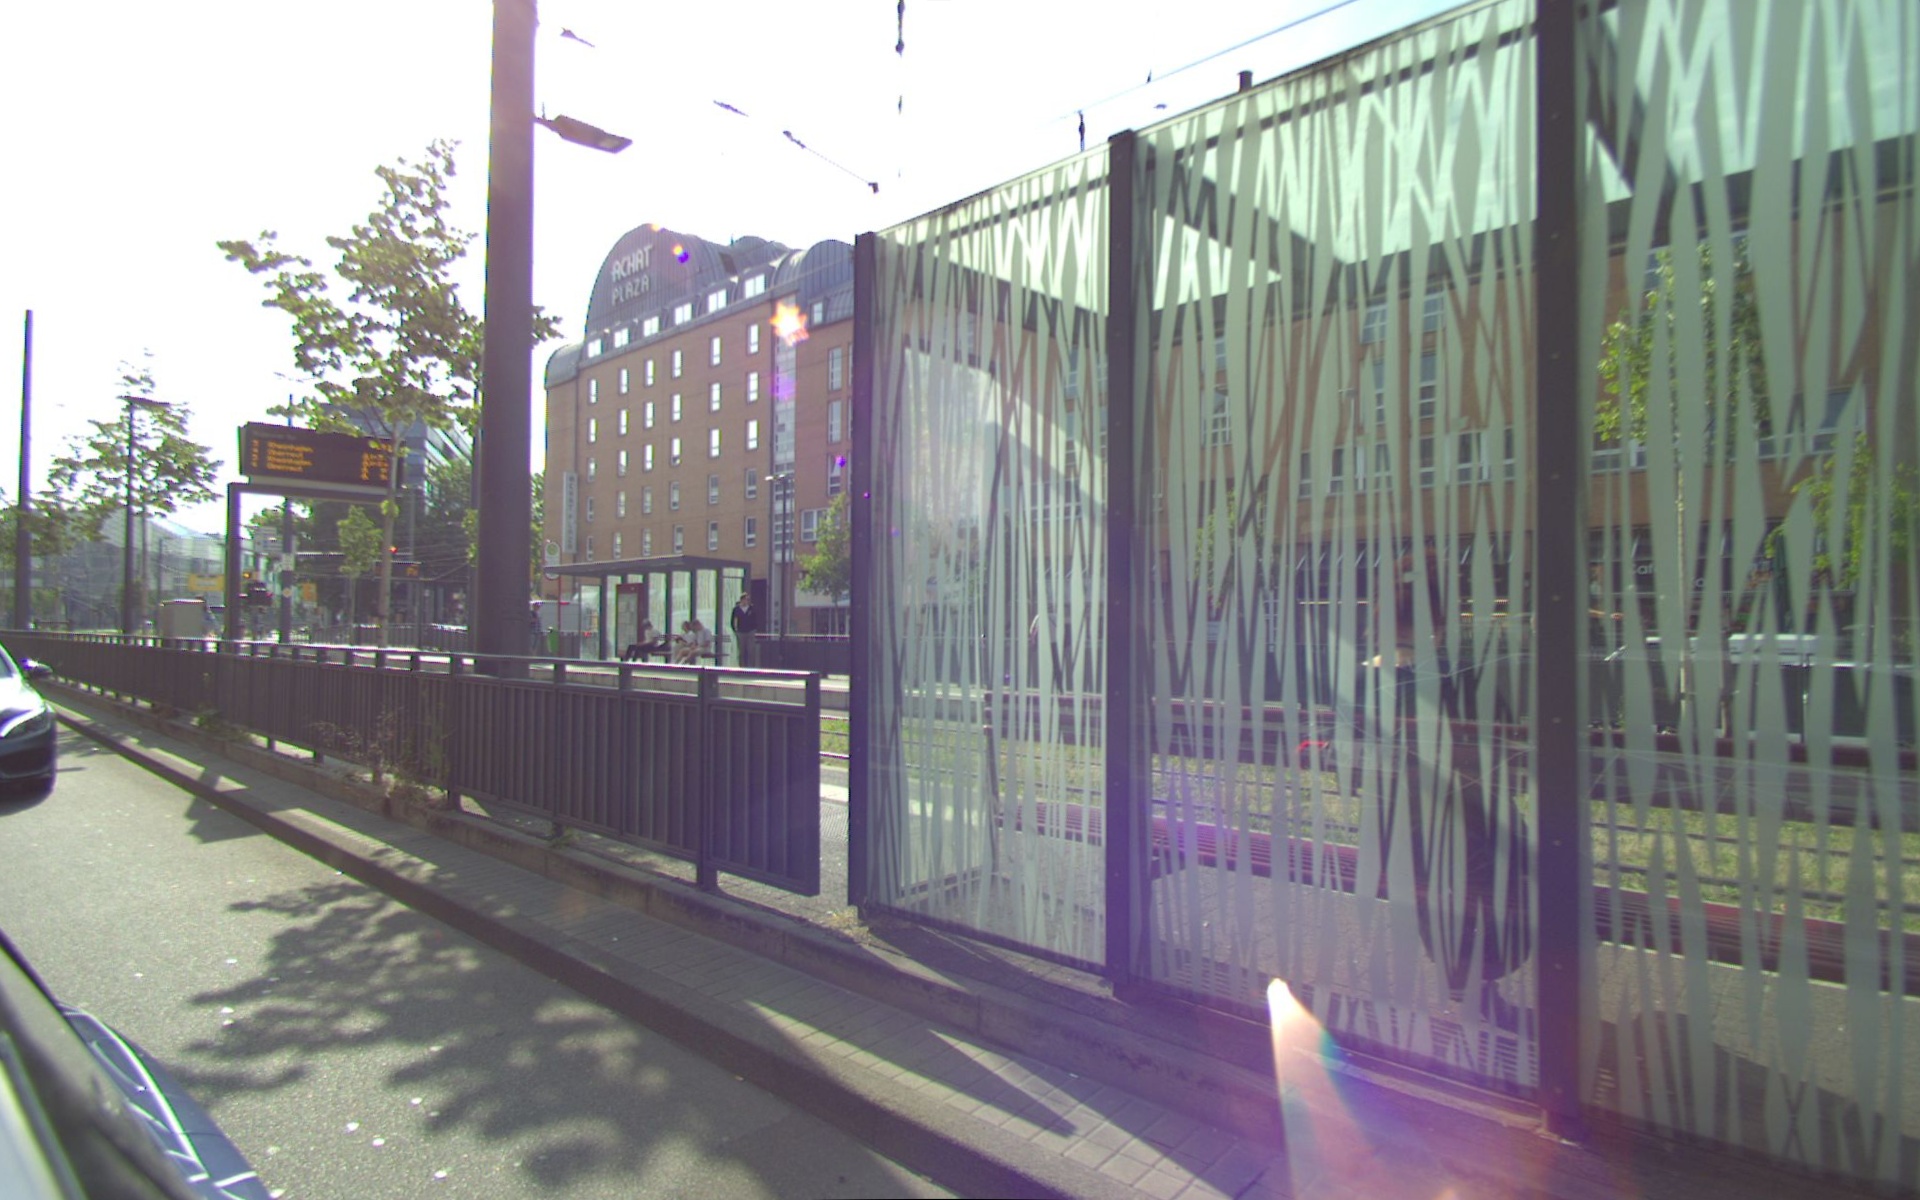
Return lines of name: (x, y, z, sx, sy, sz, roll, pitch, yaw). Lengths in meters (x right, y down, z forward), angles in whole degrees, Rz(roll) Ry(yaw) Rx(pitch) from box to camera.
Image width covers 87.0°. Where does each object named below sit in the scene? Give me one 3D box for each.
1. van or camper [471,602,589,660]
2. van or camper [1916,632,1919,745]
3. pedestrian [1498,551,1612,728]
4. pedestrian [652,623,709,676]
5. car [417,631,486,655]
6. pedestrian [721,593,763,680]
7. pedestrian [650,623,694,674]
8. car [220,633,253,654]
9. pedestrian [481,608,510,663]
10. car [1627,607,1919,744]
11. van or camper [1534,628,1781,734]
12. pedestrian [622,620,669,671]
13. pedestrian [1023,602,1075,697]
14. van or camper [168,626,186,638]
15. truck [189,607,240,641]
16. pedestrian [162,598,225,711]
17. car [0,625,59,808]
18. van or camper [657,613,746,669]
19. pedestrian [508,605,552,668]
van or camper: (-16.402, 1.178, 38.471, 5.341, 2.029, 2.060, -1, -3, 42)
van or camper: (18.828, 1.532, 16.913, 1.907, 1.983, 4.004, 2, -2, -43)
pedestrian: (6.682, 0.437, 11.377, 0.940, 1.886, 0.730, -1, -3, 44)
pedestrian: (-6.826, 1.199, 24.727, 0.675, 1.255, 1.141, -1, -3, 42)
car: (-21.890, 1.825, 43.520, 3.488, 0.978, 1.528, -1, -3, 43)
pedestrian: (-4.850, 0.806, 22.517, 0.796, 1.900, 0.555, 0, -2, 0)
pedestrian: (-7.225, 1.215, 25.384, 0.675, 1.255, 0.783, -1, -3, 42)
car: (-71.991, 4.313, 100.620, 4.002, 2.029, 1.971, -1, -3, 45)
pedestrian: (-15.560, 1.174, 33.888, 0.698, 1.773, 0.644, -1, 0, 43)
car: (12.827, 1.057, 14.917, 1.968, 1.819, 4.639, 2, -3, -40)
van or camper: (14.795, 1.626, 21.620, 1.969, 2.029, 4.004, 2, -3, -42)
pedestrian: (-8.265, 1.193, 26.628, 0.808, 1.324, 0.860, -1, -3, 39)
pedestrian: (1.500, 0.820, 16.986, 0.803, 1.542, 0.675, 0, -2, 12)
van or camper: (-106.168, 4.299, 137.273, 1.816, 1.564, 4.009, 2, -2, -36)
truck: (-88.500, 2.894, 119.978, 3.124, 3.805, 12.368, 3, -3, -44)
pedestrian: (-12.506, 0.870, 16.515, 0.727, 1.771, 0.666, -1, 0, 42)
car: (-9.485, 0.949, 8.926, 4.235, 1.403, 1.881, -1, -1, 42)
van or camper: (-13.762, 2.148, 53.771, 5.353, 2.823, 1.972, -1, -3, 43)
pedestrian: (-12.387, 1.060, 29.197, 0.825, 1.760, 0.783, 1, -3, 6)
